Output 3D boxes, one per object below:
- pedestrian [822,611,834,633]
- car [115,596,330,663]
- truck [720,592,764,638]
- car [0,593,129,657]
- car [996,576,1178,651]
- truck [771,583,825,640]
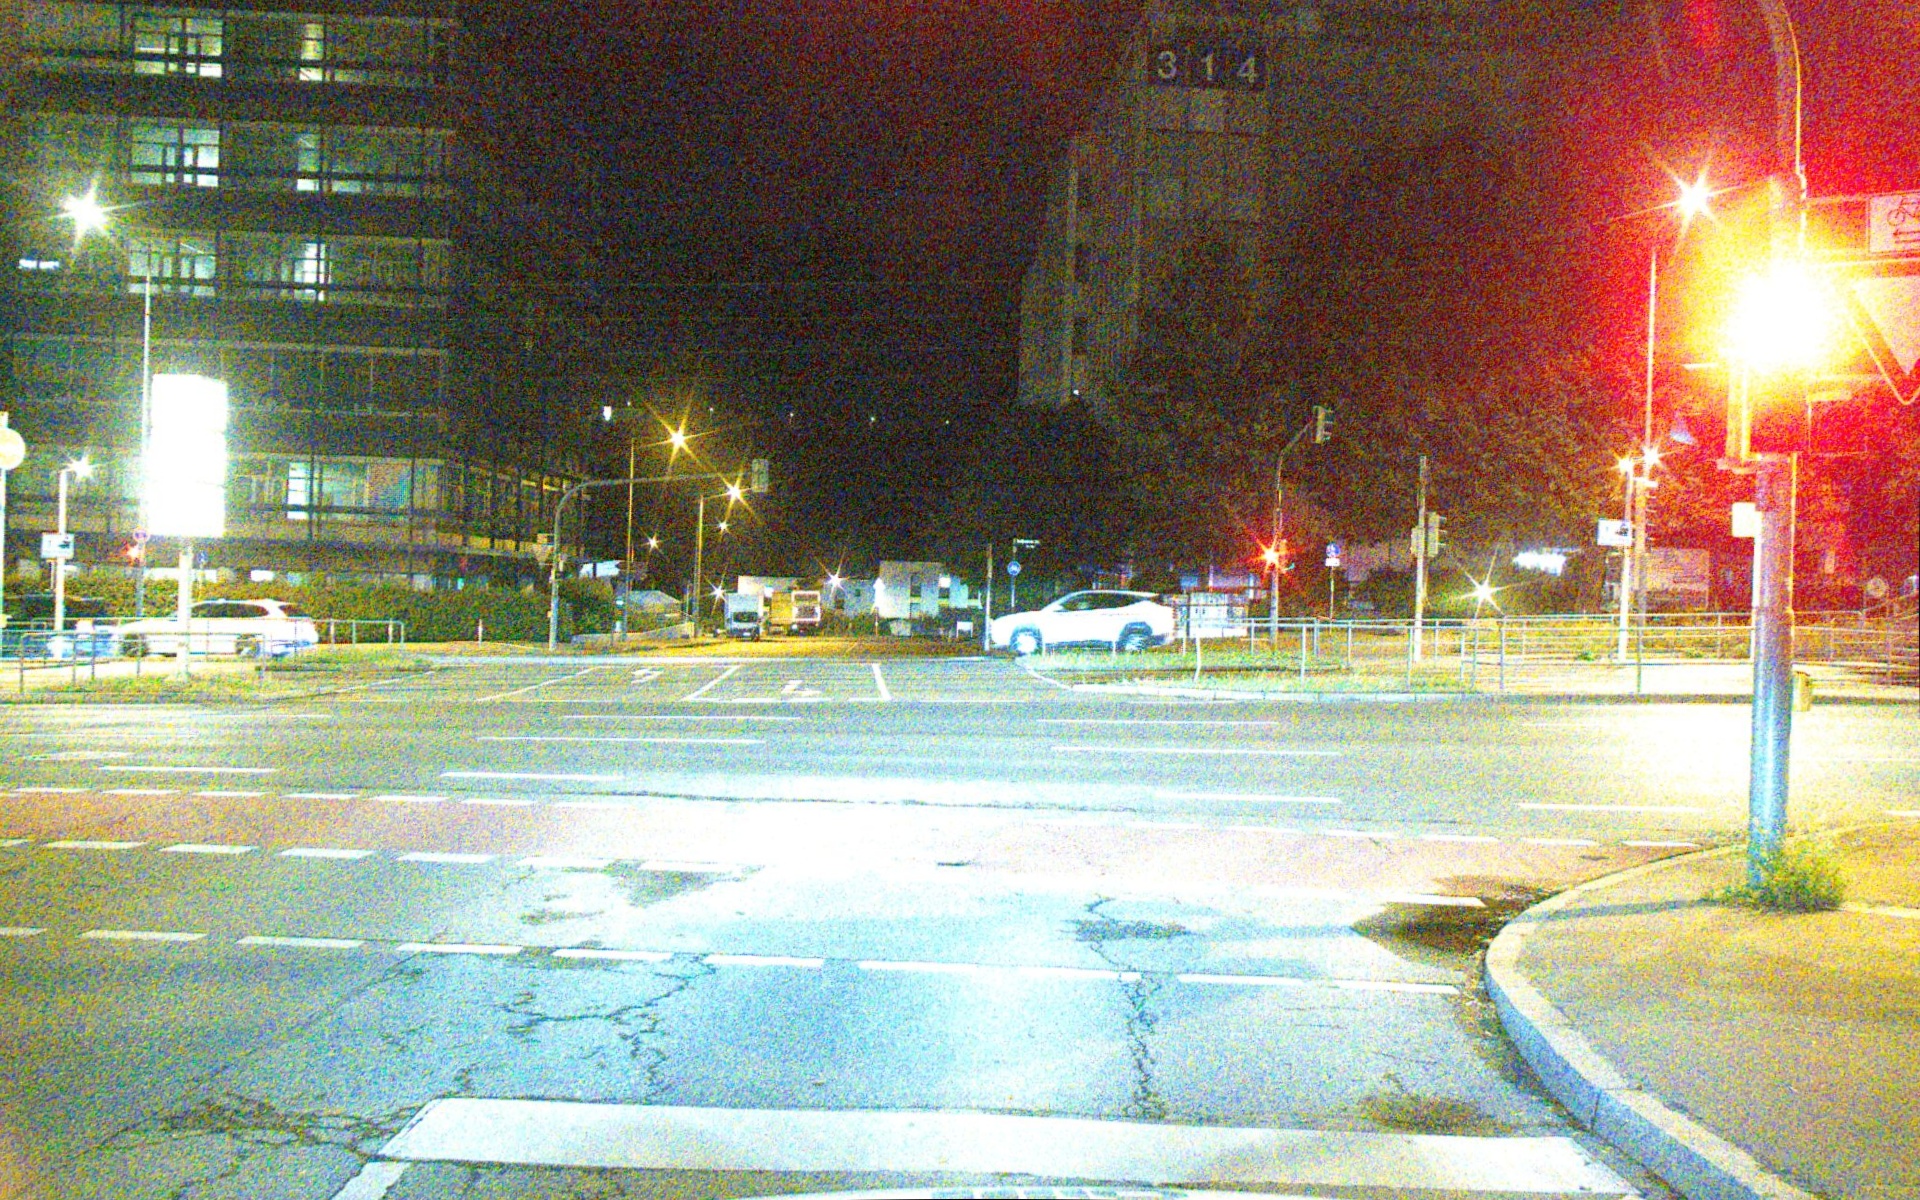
[{"bbox_3d":[-11.764,1.968,147.298,0.836,1.945,1.001,2,-1,-18],"label":"pedestrian"},{"bbox_3d":[-18.175,0.716,40.863,4.479,1.512,1.779,1,0,2],"label":"car"},{"bbox_3d":[-15.759,1.082,119.335,2.377,3.143,6.414,2,-1,-14],"label":"truck"},{"bbox_3d":[-24.650,0.659,44.458,3.738,1.660,1.813,0,0,5],"label":"car"},{"bbox_3d":[3.066,0.336,40.347,4.306,1.672,1.942,1,-1,2],"label":"car"},{"bbox_3d":[-14.622,1.022,148.607,3.307,4.927,7.868,2,-1,-17],"label":"truck"}]
